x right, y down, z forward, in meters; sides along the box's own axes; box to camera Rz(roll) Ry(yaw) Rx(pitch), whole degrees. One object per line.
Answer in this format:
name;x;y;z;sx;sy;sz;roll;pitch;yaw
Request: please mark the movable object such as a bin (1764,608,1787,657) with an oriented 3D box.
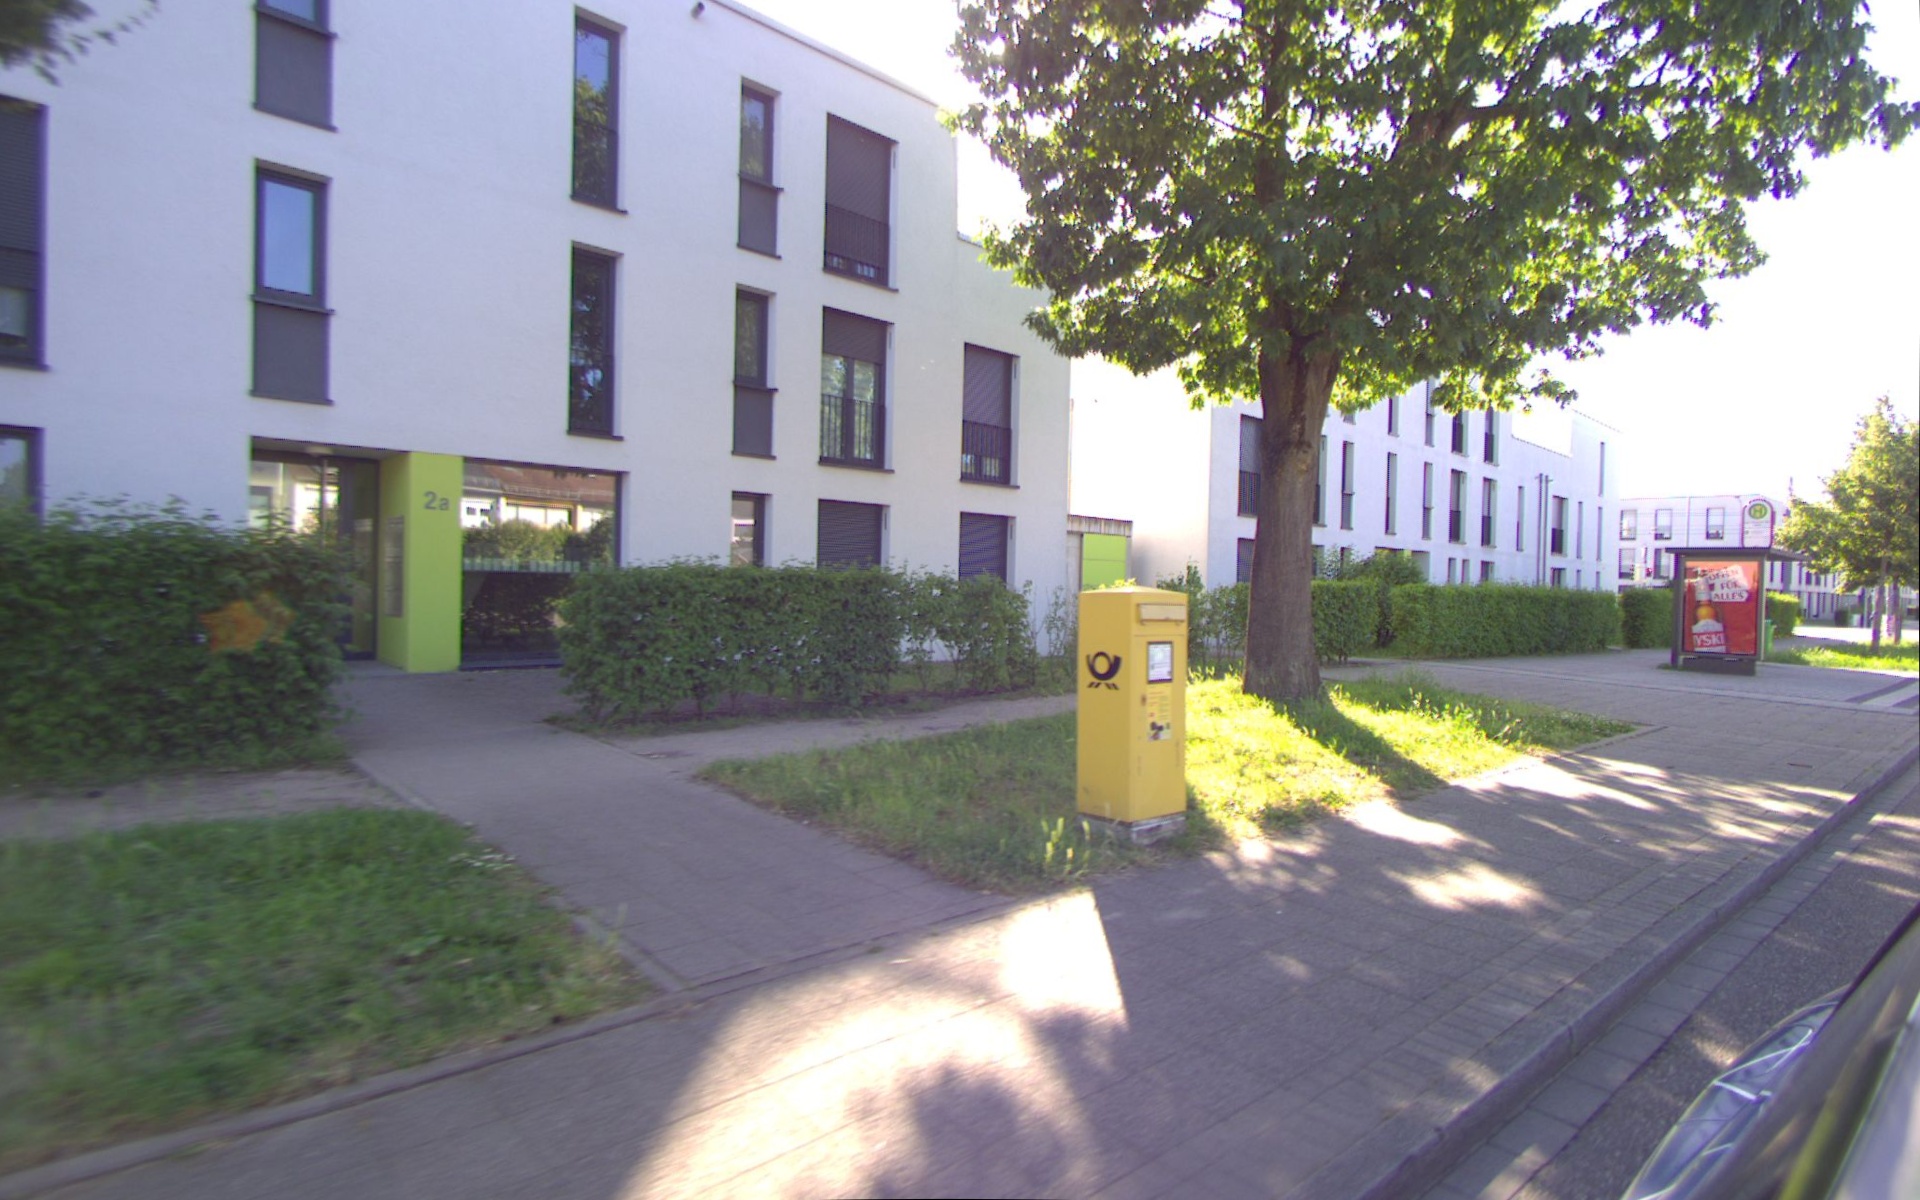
movable object such as a bin;17.652;0.700;21.912;0.368;1.029;0.591;2;1;38
